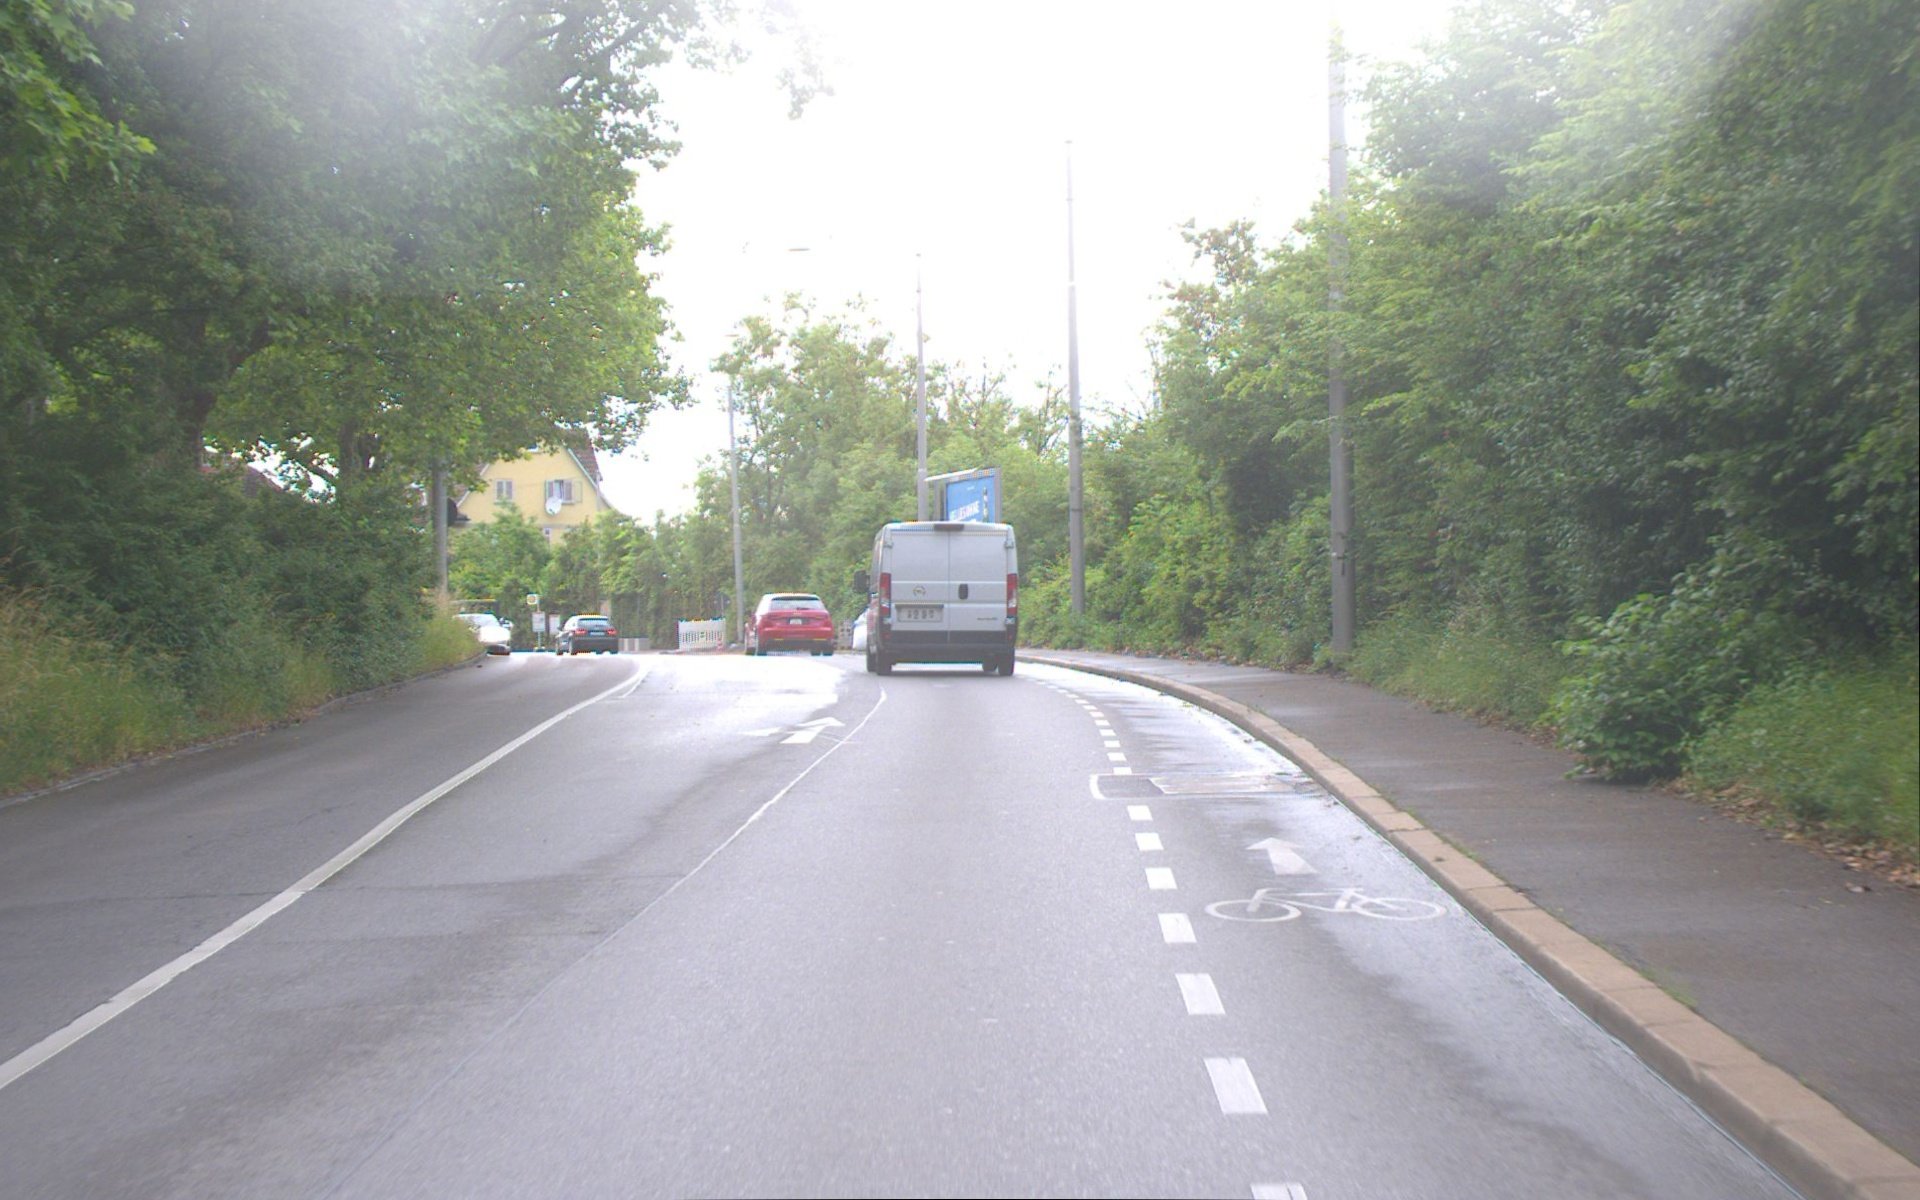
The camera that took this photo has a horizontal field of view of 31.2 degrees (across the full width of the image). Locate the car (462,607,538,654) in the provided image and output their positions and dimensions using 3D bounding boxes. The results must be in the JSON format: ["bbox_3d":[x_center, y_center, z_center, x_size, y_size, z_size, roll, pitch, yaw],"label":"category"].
[{"bbox_3d":[-14.632,0.958,109.243,2.070,1.348,4.715,1,1,-12],"label":"car"}]

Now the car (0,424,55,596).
[{"bbox_3d":[-12.275,-1.073,40.856,1.993,2.007,4.628,1,1,-3],"label":"car"}]

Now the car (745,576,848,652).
[{"bbox_3d":[-3.777,0.298,78.725,2.237,1.651,4.714,1,1,-4],"label":"car"}]

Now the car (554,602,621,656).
[{"bbox_3d":[-13.266,1.028,122.320,2.237,1.798,4.714,1,1,-8],"label":"car"}]

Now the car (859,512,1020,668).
[{"bbox_3d":[-0.365,-0.177,51.685,2.237,2.205,4.714,1,1,-2],"label":"car"}]
